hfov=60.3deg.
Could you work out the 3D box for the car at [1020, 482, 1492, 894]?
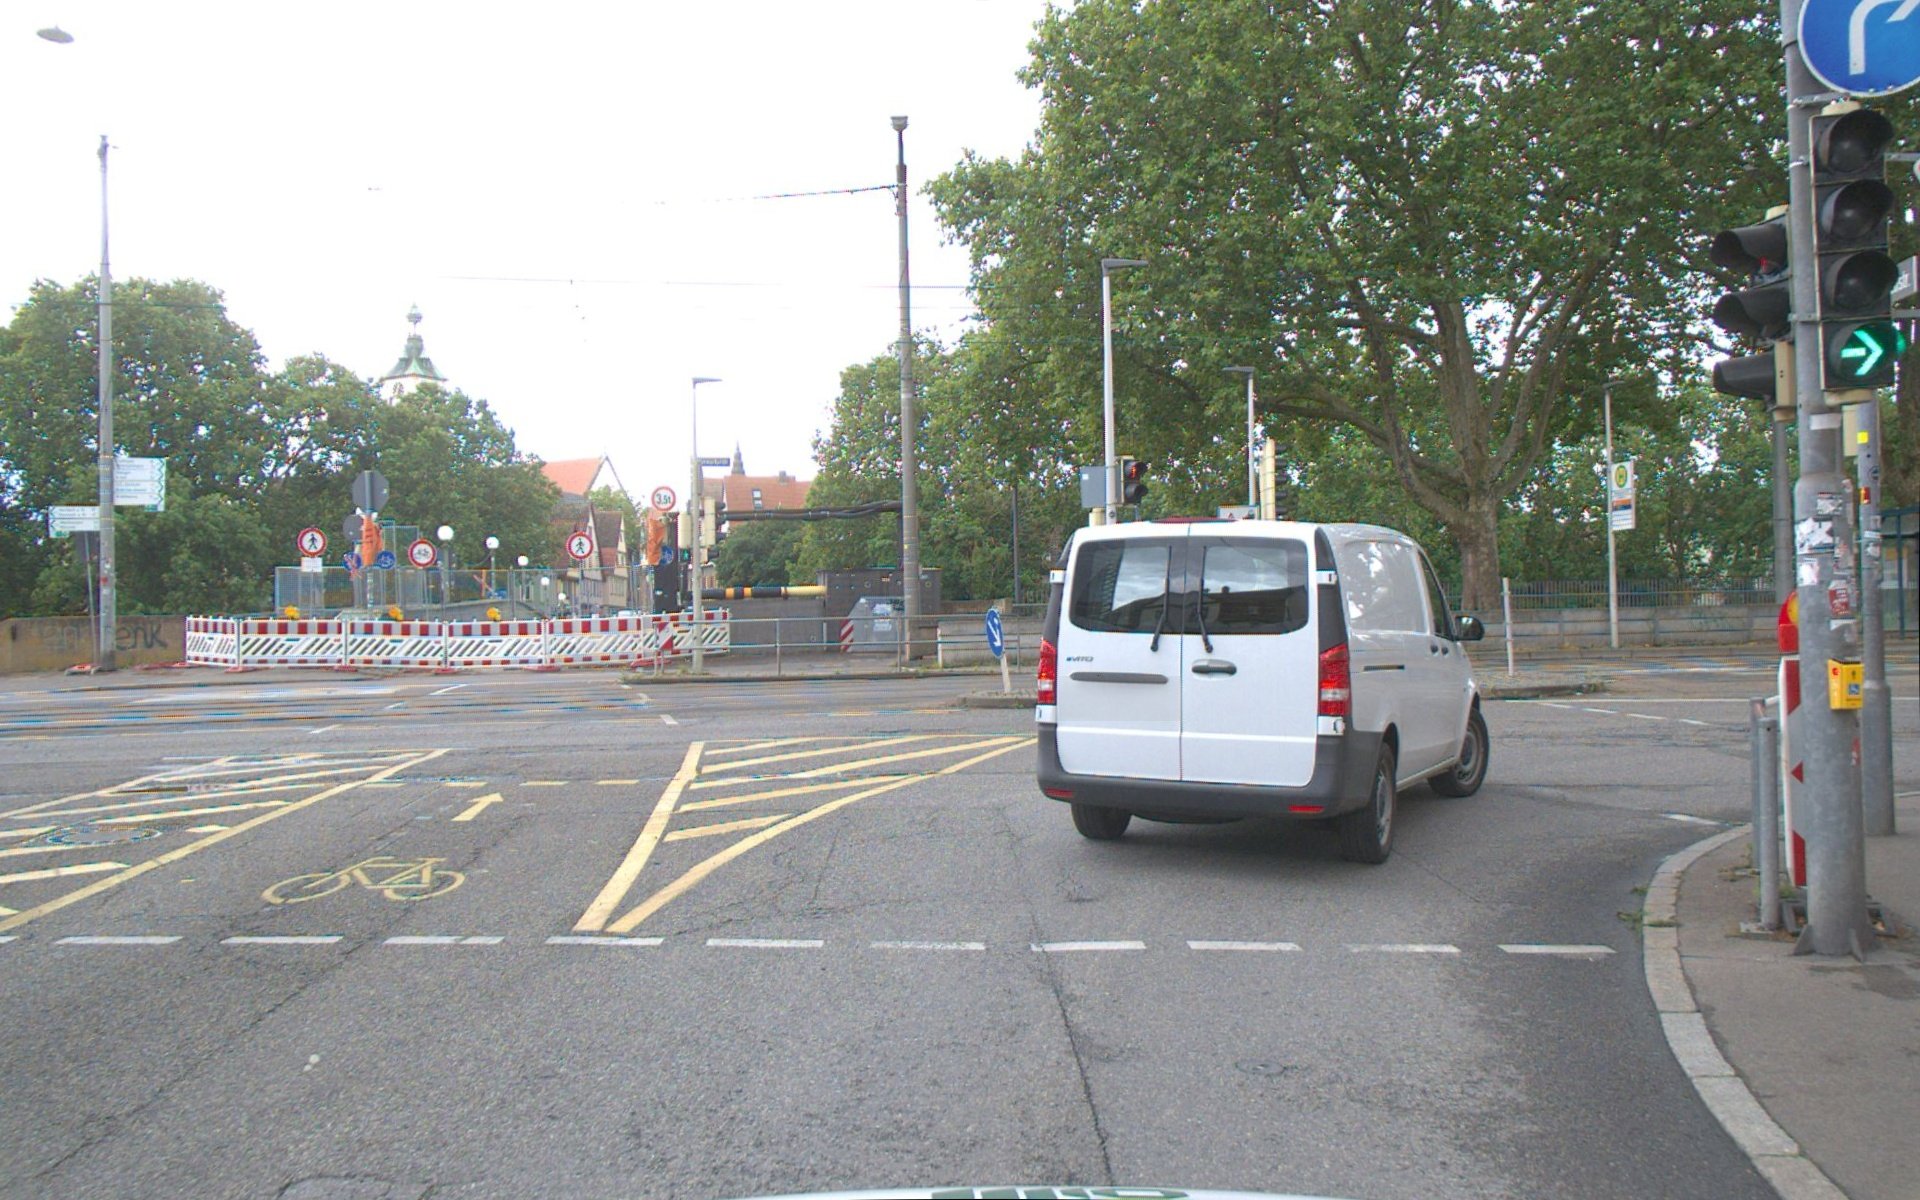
[{"bbox_3d":[2.175,0.430,10.781,1.912,2.049,4.695,0,0,25],"label":"car"}]
